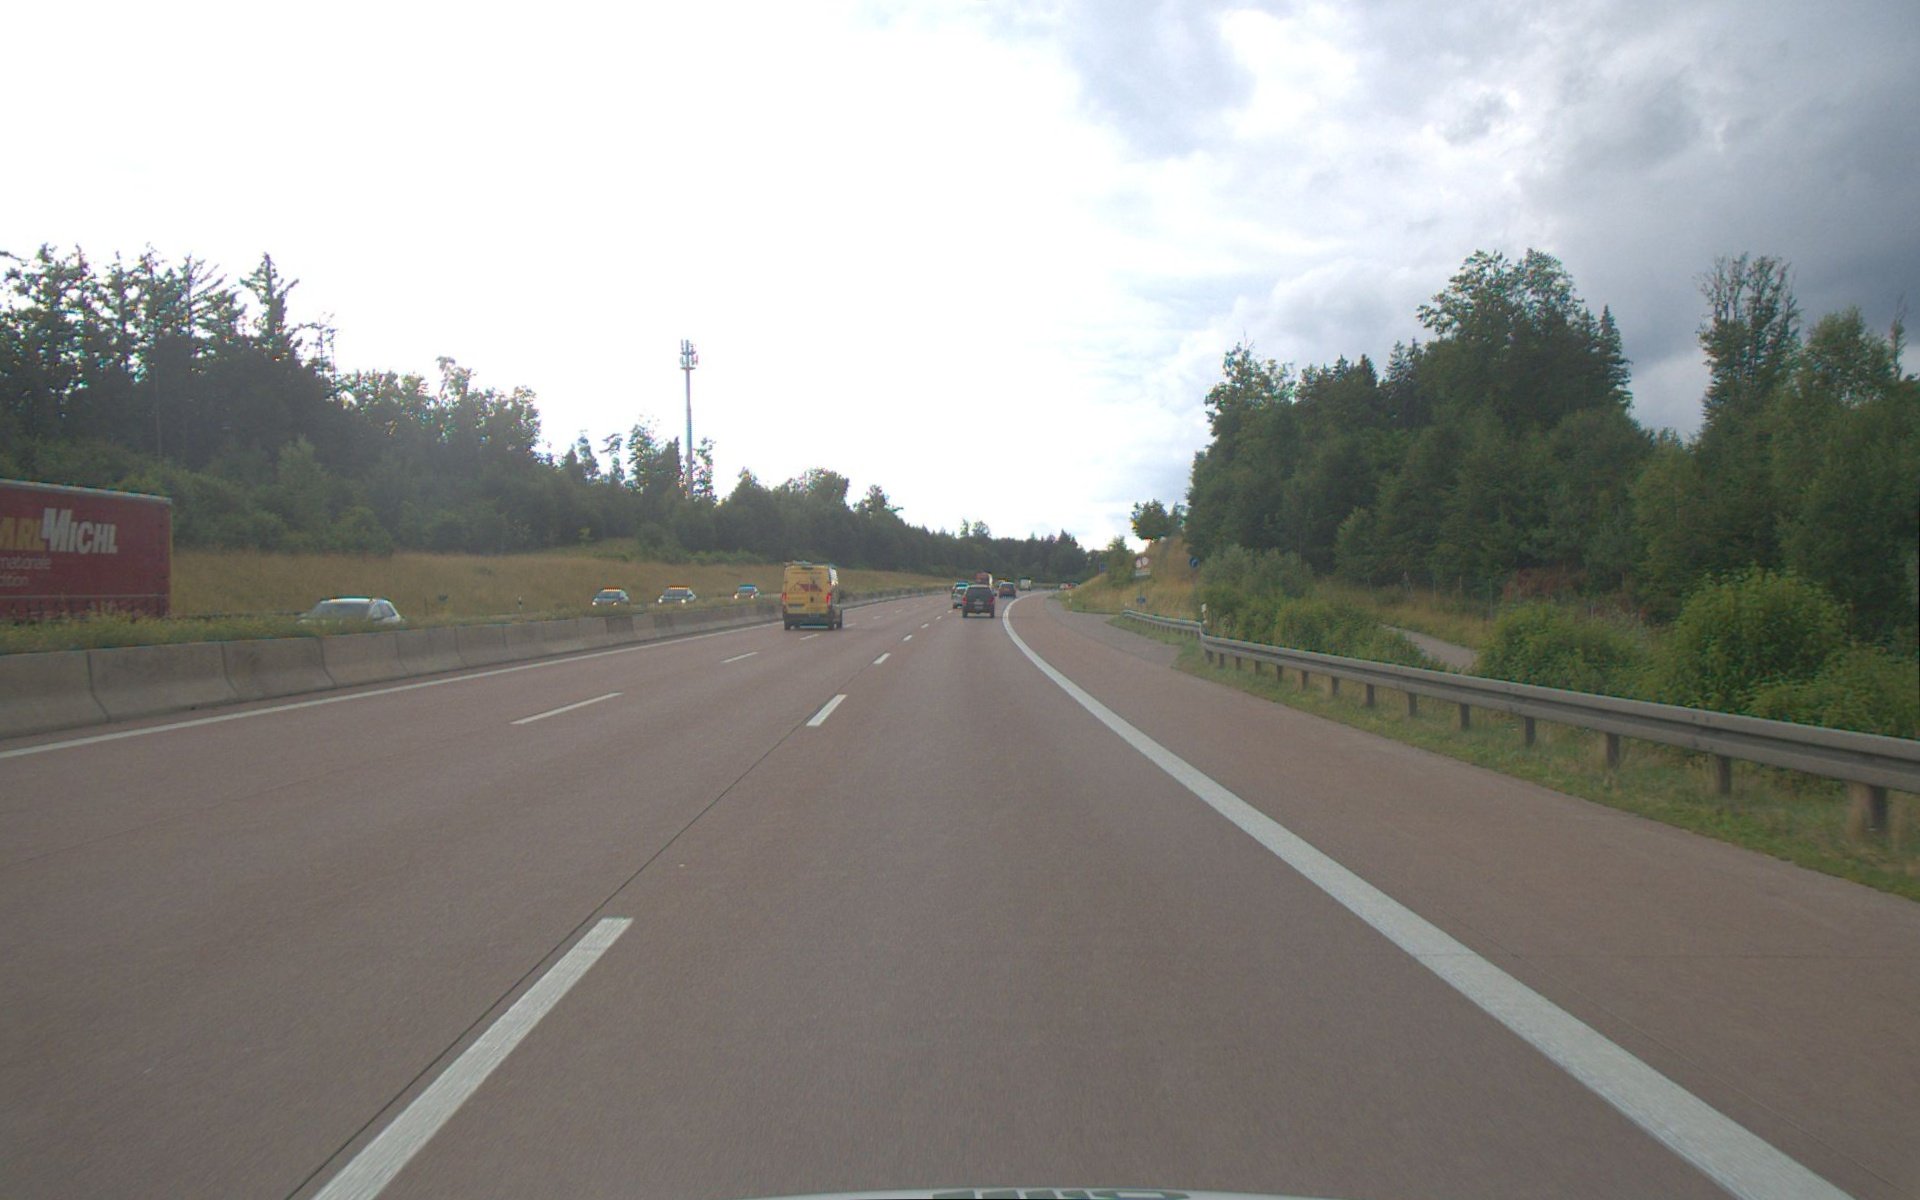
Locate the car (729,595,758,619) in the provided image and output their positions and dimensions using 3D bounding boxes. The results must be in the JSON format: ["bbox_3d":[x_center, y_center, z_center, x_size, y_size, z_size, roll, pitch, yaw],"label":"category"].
[{"bbox_3d":[-17.599,0.557,134.312,1.770,1.847,4.001,0,0,1],"label":"car"}]

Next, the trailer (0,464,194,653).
[{"bbox_3d":[-22.323,-0.934,37.489,2.971,4.112,14.532,1,0,1],"label":"trailer"}]

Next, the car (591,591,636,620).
[{"bbox_3d":[-21.200,0.356,101.374,1.726,1.667,4.380,1,-1,1],"label":"car"}]

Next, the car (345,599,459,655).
[{"bbox_3d":[-14.788,0.689,44.044,1.705,1.427,4.030,0,0,-1],"label":"car"}]

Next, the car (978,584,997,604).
[{"bbox_3d":[3.650,-0.775,220.853,2.194,2.472,6.207,-2,0,3],"label":"car"}]

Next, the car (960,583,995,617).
[{"bbox_3d":[1.027,0.000,96.617,2.002,1.930,5.577,0,0,0],"label":"car"}]

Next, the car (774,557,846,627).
[{"bbox_3d":[-6.145,-0.264,68.234,2.408,2.754,5.613,0,-1,0],"label":"car"}]

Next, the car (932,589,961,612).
[{"bbox_3d":[-1.004,0.043,122.888,1.936,1.677,4.620,0,-1,2],"label":"car"}]

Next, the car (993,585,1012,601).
[{"bbox_3d":[4.627,-0.760,181.942,1.937,1.677,4.618,0,-1,-1],"label":"car"}]

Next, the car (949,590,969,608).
[{"bbox_3d":[-0.136,-0.076,166.286,1.937,1.677,4.618,0,-1,-1],"label":"car"}]

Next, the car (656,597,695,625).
[{"bbox_3d":[-17.690,0.732,103.112,1.726,1.667,4.379,1,-1,-1],"label":"car"}]
